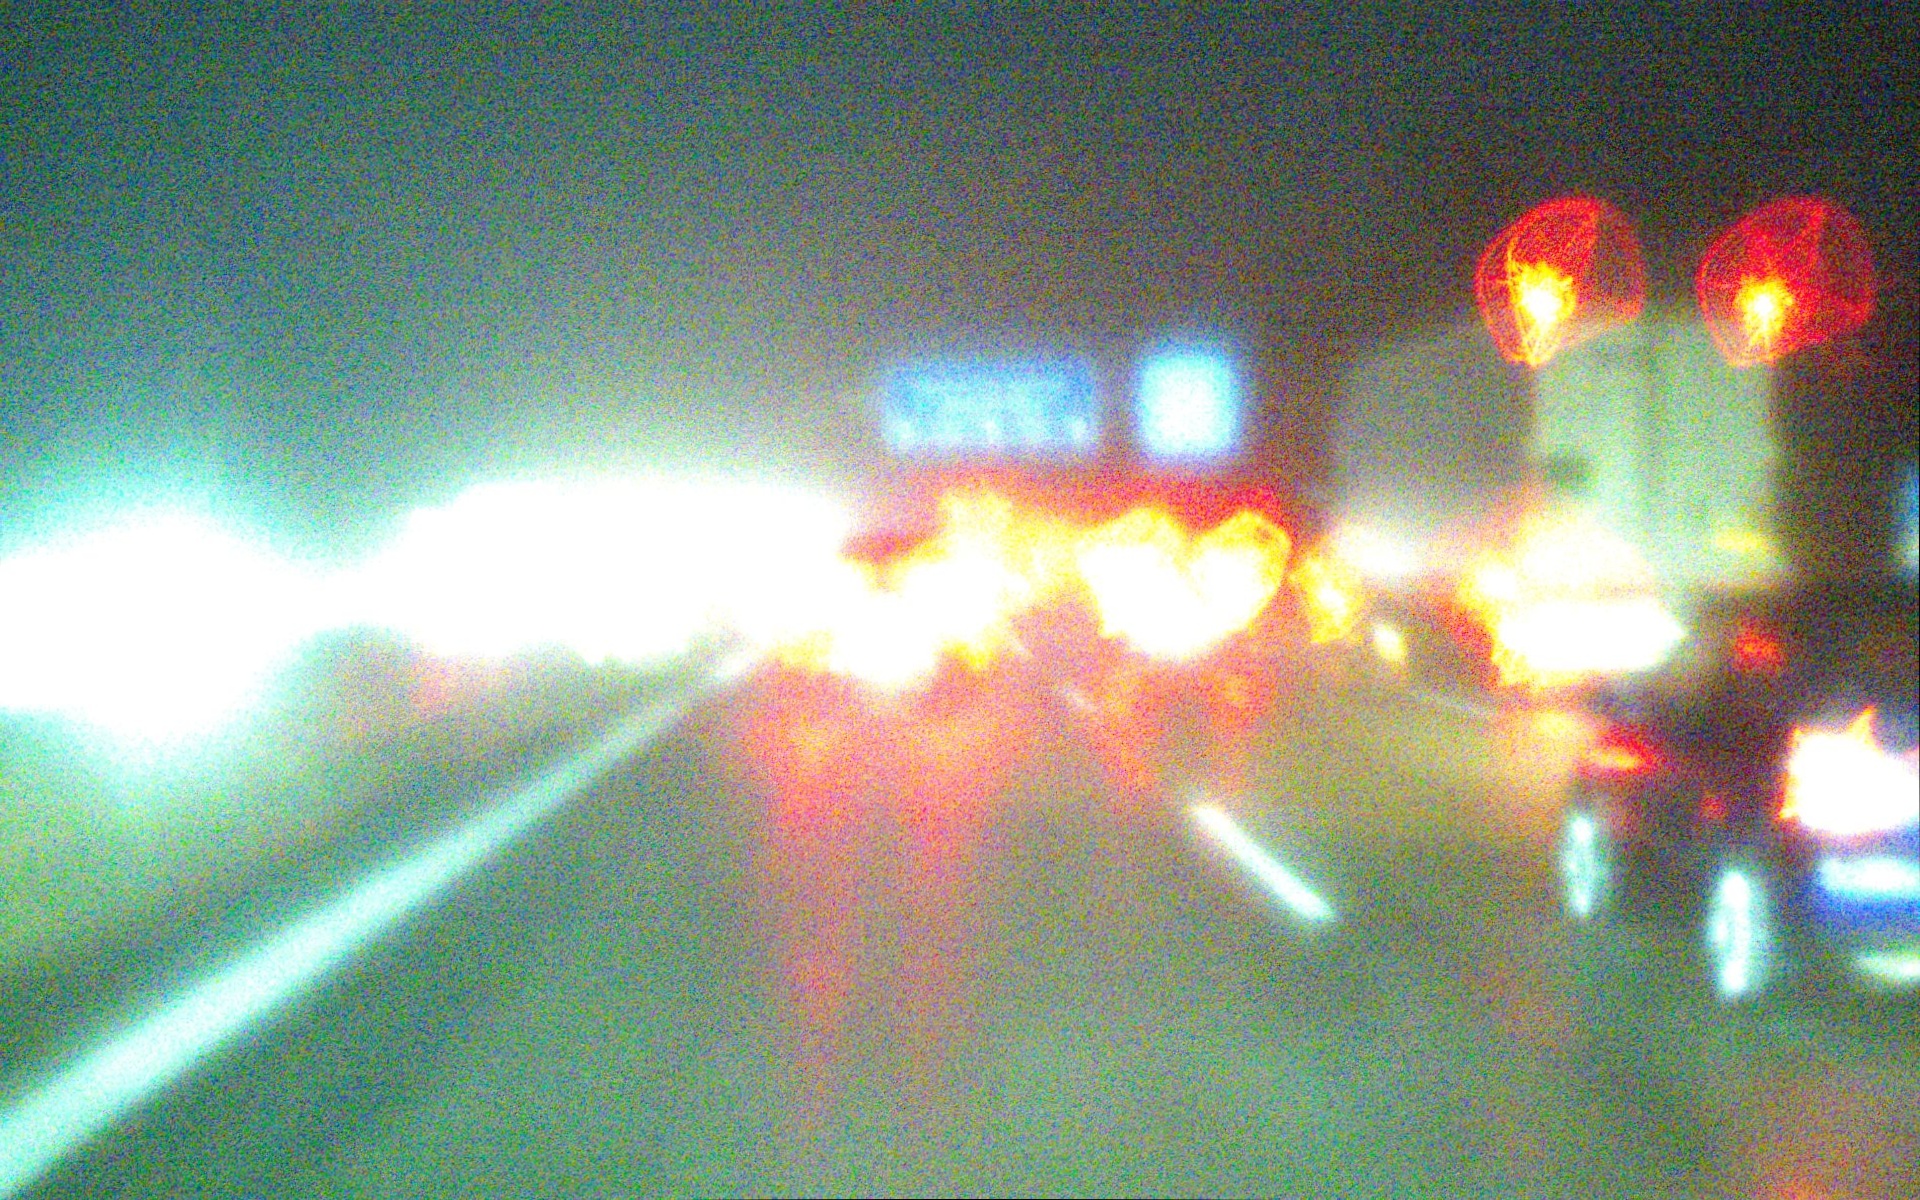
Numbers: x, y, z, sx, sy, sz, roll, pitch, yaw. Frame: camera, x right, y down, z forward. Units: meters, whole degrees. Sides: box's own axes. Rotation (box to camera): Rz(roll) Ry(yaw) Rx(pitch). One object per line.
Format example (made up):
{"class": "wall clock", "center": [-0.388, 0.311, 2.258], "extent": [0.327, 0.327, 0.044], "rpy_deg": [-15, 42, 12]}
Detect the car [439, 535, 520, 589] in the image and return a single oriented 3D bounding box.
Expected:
{"class": "car", "center": [-14.626, -1.158, 104.823], "extent": [1.861, 1.575, 4.514], "rpy_deg": [1, 1, -1]}

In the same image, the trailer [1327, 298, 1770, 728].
{"class": "trailer", "center": [6.430, -0.946, 39.826], "extent": [2.803, 4.198, 12.097], "rpy_deg": [1, 1, -1]}

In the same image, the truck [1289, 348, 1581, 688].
{"class": "truck", "center": [6.338, -1.094, 47.016], "extent": [2.803, 4.252, 7.448], "rpy_deg": [1, 1, -1]}

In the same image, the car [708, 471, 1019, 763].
{"class": "car", "center": [-0.982, 0.086, 33.749], "extent": [2.709, 2.525, 5.832], "rpy_deg": [-2, 1, -2]}

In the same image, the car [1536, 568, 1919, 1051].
{"class": "car", "center": [3.208, 0.607, 12.051], "extent": [1.612, 1.407, 3.792], "rpy_deg": [0, 1, -2]}

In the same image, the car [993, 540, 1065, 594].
{"class": "car", "center": [2.127, -1.016, 107.193], "extent": [2.137, 1.612, 4.000], "rpy_deg": [1, 1, 0]}

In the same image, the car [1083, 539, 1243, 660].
{"class": "car", "center": [2.754, -0.045, 47.420], "extent": [1.884, 1.583, 4.000], "rpy_deg": [1, 1, -1]}

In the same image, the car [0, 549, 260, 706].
{"class": "car", "center": [-9.442, 0.261, 39.445], "extent": [1.993, 1.611, 4.418], "rpy_deg": [-2, 1, -2]}
